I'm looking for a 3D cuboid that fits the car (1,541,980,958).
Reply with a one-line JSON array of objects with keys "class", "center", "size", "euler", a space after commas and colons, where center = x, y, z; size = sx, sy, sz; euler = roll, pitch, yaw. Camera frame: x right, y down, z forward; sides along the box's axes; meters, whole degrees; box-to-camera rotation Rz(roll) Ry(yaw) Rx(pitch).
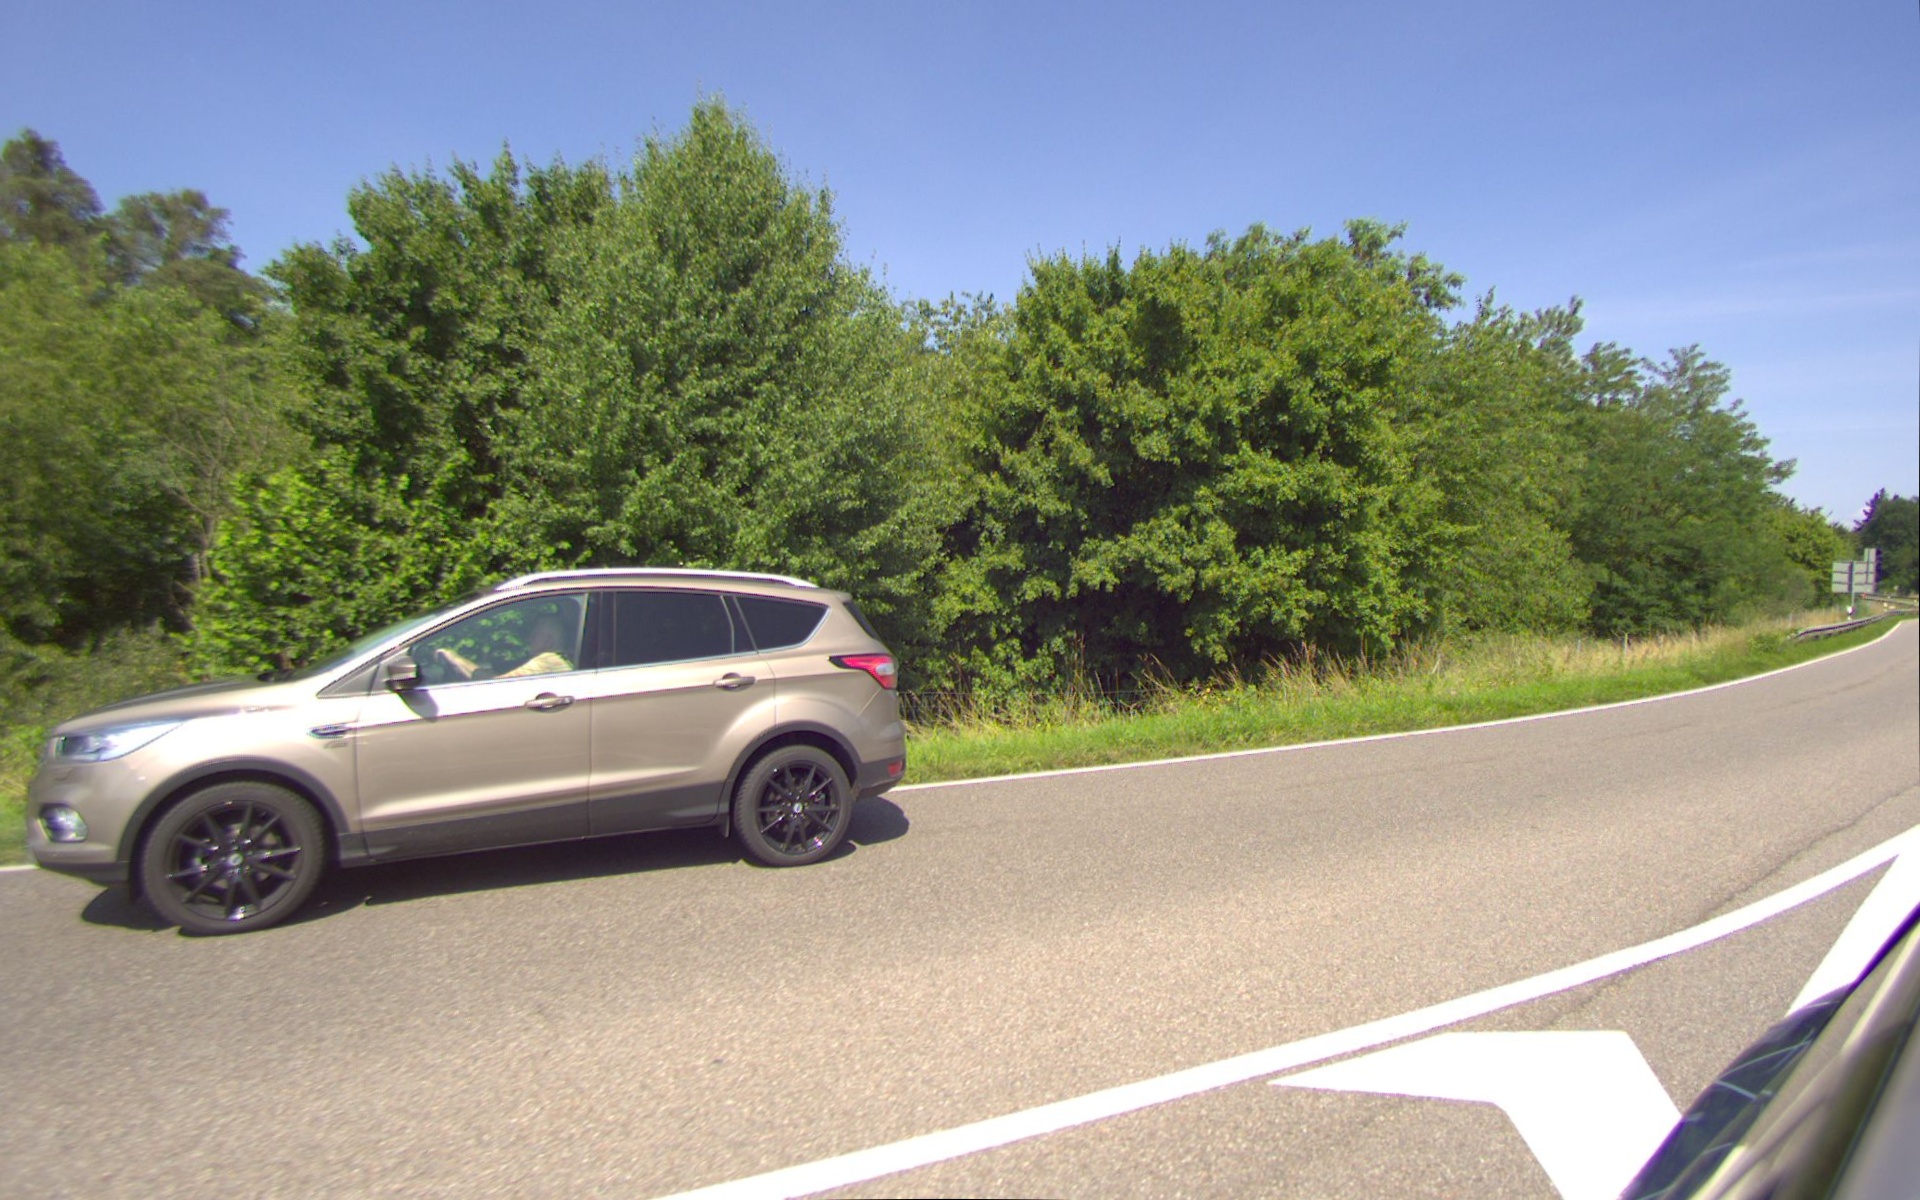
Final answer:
[{"class": "car", "center": [-2.336, 0.619, 6.055], "size": [4.571, 1.687, 1.902], "euler": [0, -1, -29]}]
